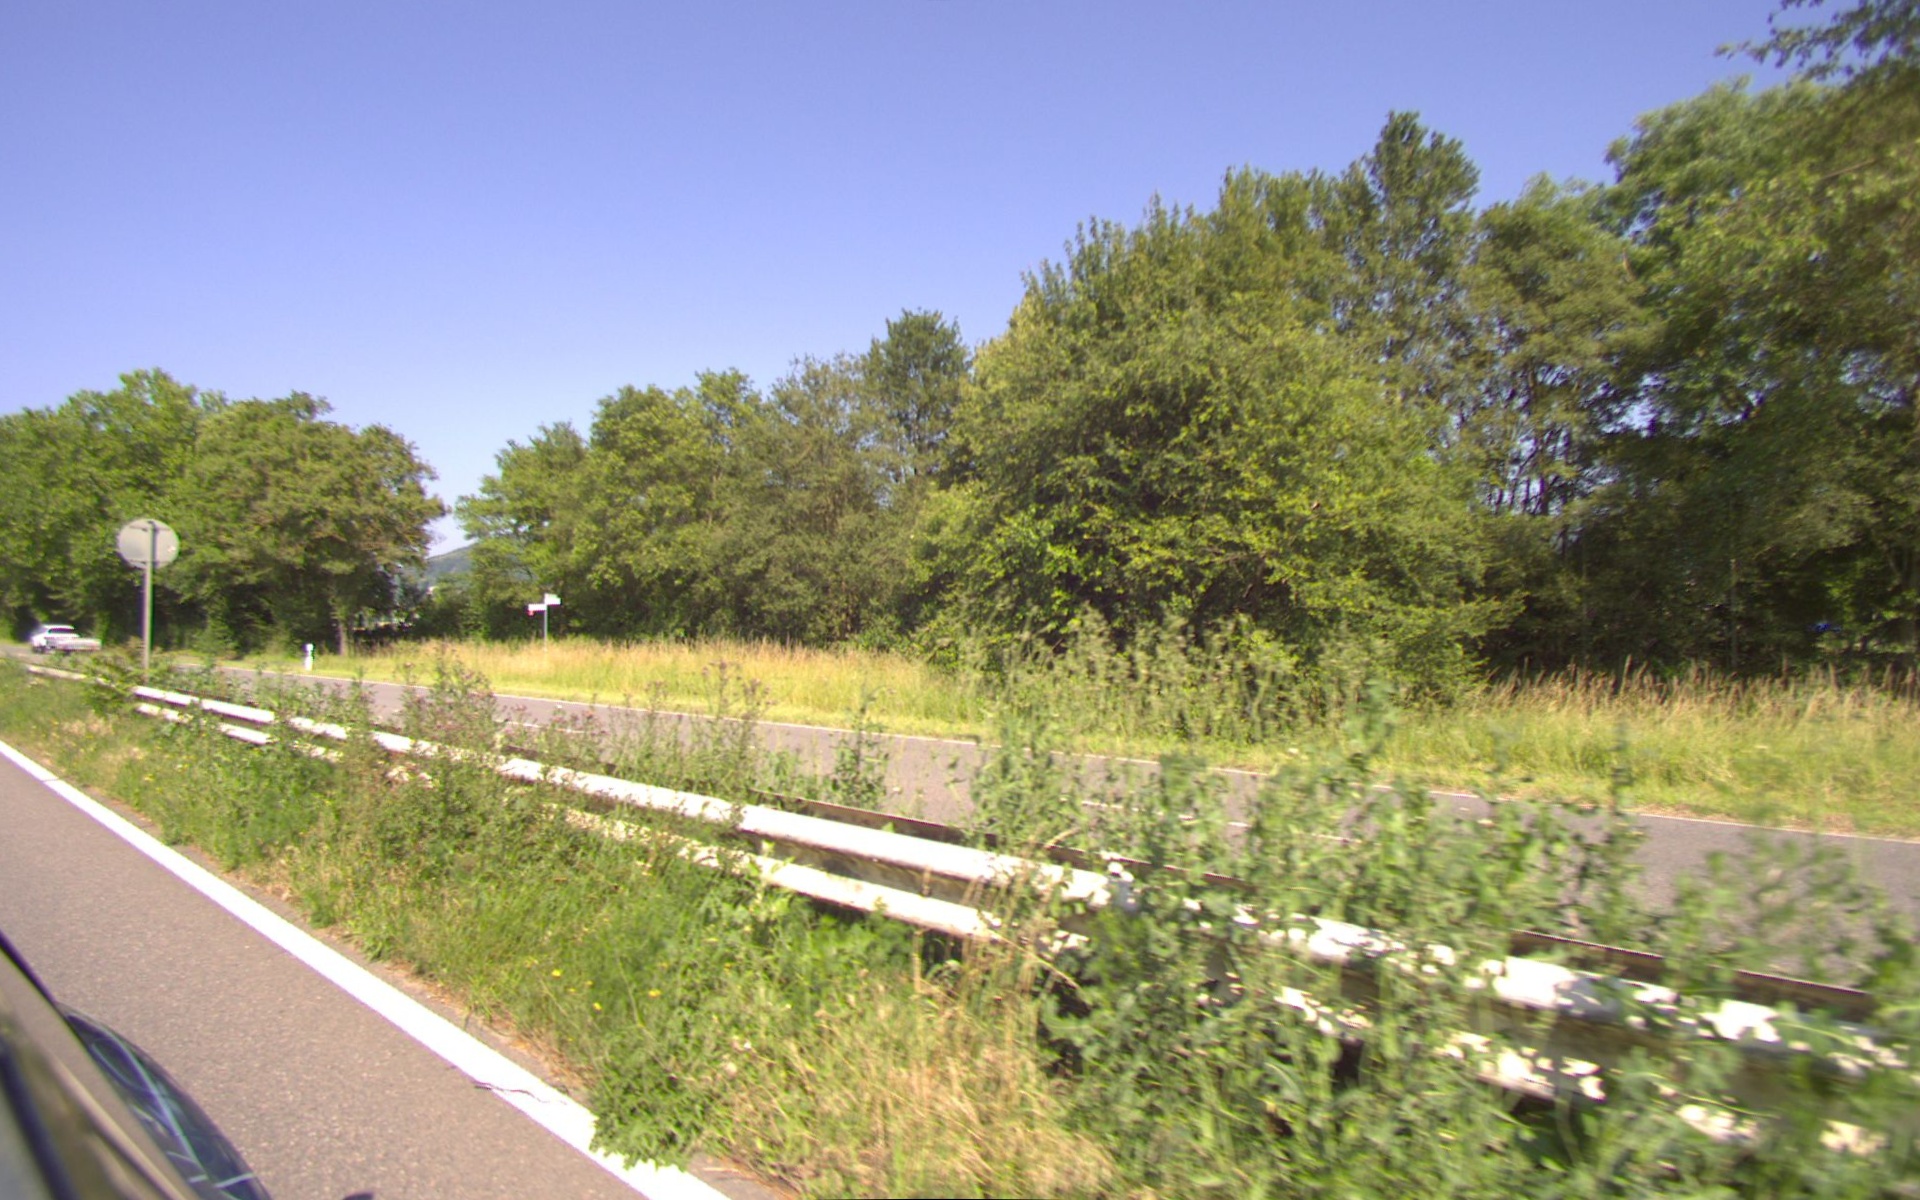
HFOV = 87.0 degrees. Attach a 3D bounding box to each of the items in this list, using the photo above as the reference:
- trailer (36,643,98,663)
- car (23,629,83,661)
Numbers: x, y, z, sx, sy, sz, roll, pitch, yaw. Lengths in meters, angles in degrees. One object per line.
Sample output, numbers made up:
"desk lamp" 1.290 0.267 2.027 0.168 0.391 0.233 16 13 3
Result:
"trailer" -48.845 2.879 55.325 5.597 0.968 1.942 -2 -4 42
"car" -52.736 2.598 58.819 4.811 1.713 1.972 -1 -4 41
